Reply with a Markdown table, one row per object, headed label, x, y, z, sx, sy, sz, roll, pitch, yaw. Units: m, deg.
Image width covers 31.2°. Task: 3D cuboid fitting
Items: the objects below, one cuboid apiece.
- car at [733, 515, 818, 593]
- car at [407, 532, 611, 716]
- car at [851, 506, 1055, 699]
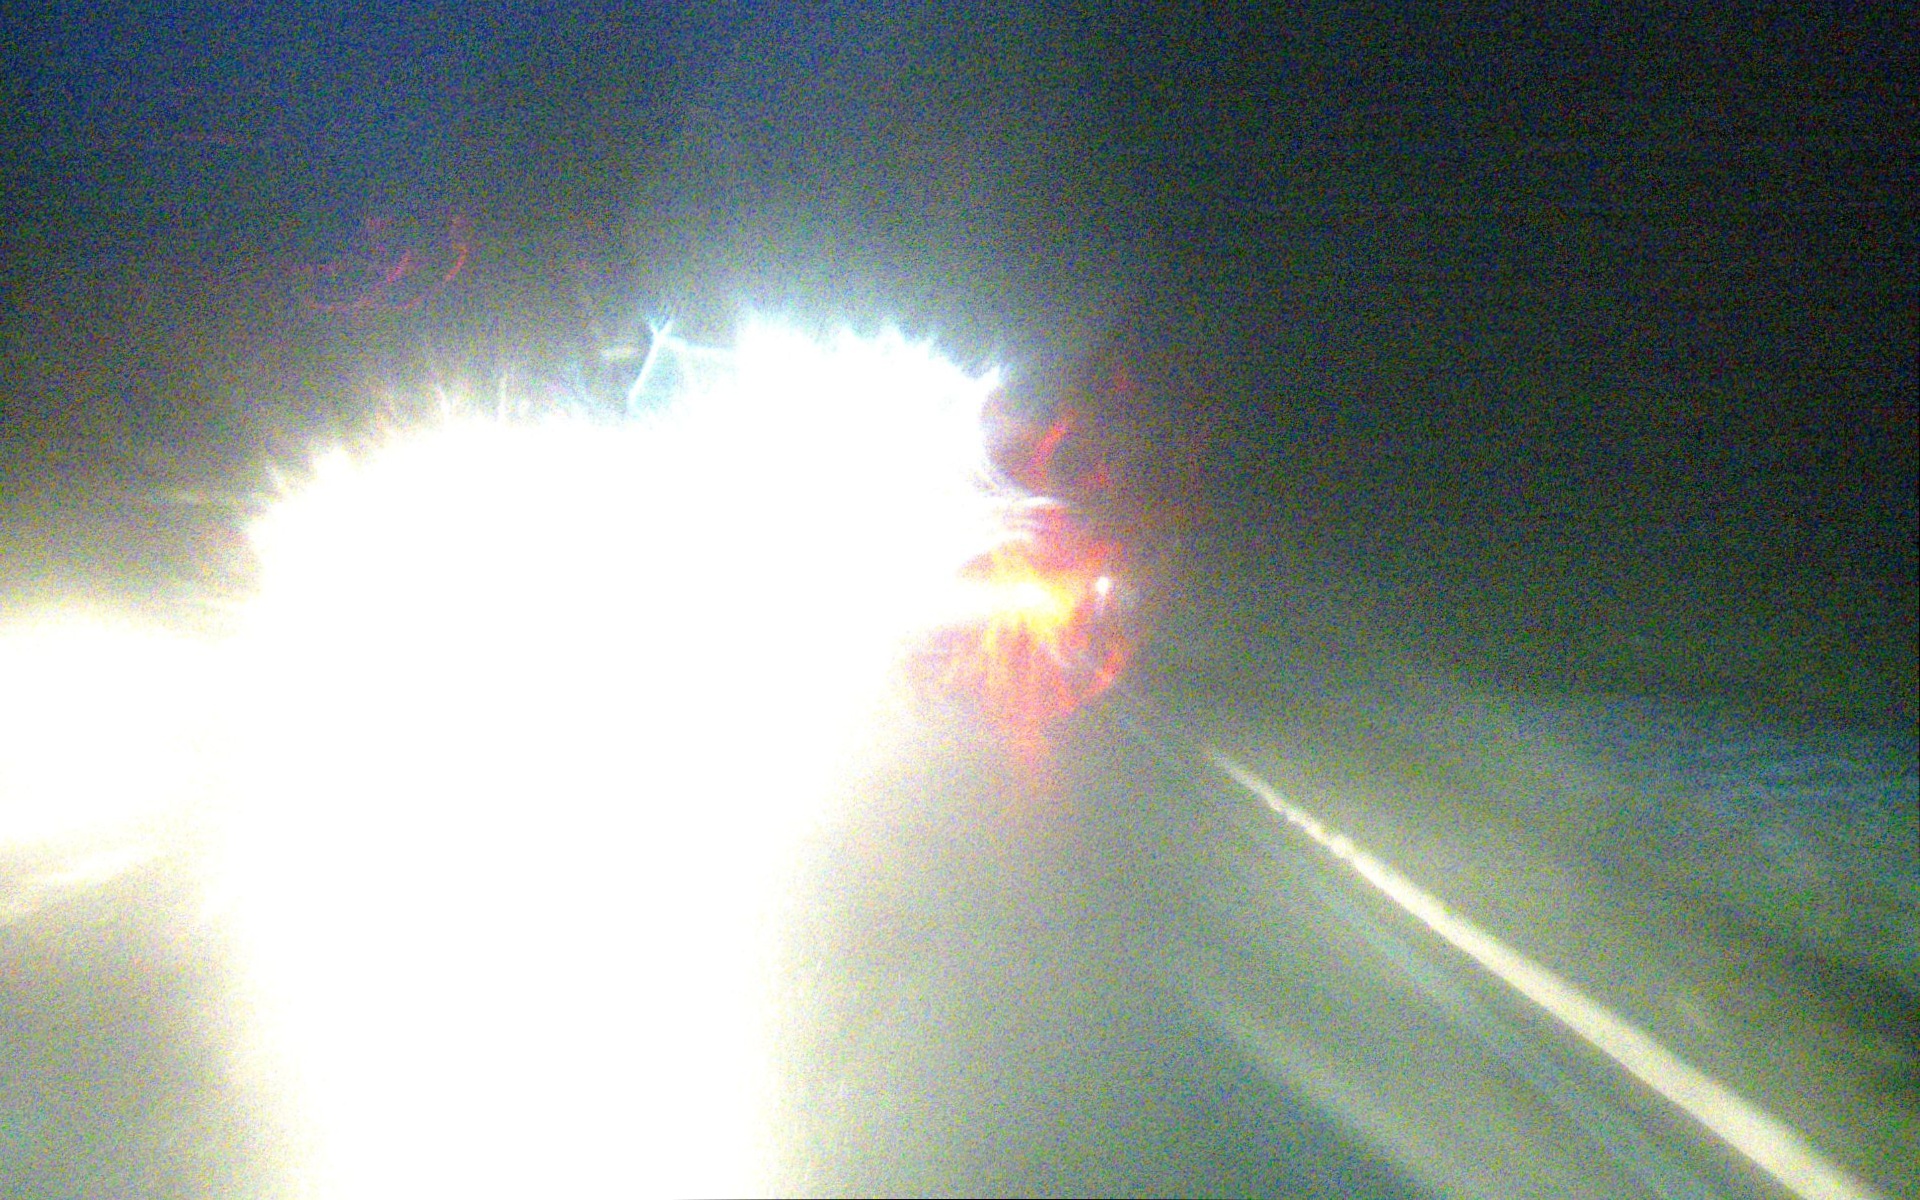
| label | x | y | z | sx | sy | sz | roll | pitch | yaw |
| --- | --- | --- | --- | --- | --- | --- | --- | --- | --- |
| car | -4.585 | -1.165 | 85.854 | 1.993 | 1.775 | 4.001 | -1 | 3 | -2 |
| car | -4.321 | 0.183 | 33.384 | 1.634 | 1.575 | 3.745 | 0 | 3 | -2 |
| car | -0.096 | -0.027 | 35.816 | 1.993 | 1.800 | 3.918 | 0 | 3 | -1 |
